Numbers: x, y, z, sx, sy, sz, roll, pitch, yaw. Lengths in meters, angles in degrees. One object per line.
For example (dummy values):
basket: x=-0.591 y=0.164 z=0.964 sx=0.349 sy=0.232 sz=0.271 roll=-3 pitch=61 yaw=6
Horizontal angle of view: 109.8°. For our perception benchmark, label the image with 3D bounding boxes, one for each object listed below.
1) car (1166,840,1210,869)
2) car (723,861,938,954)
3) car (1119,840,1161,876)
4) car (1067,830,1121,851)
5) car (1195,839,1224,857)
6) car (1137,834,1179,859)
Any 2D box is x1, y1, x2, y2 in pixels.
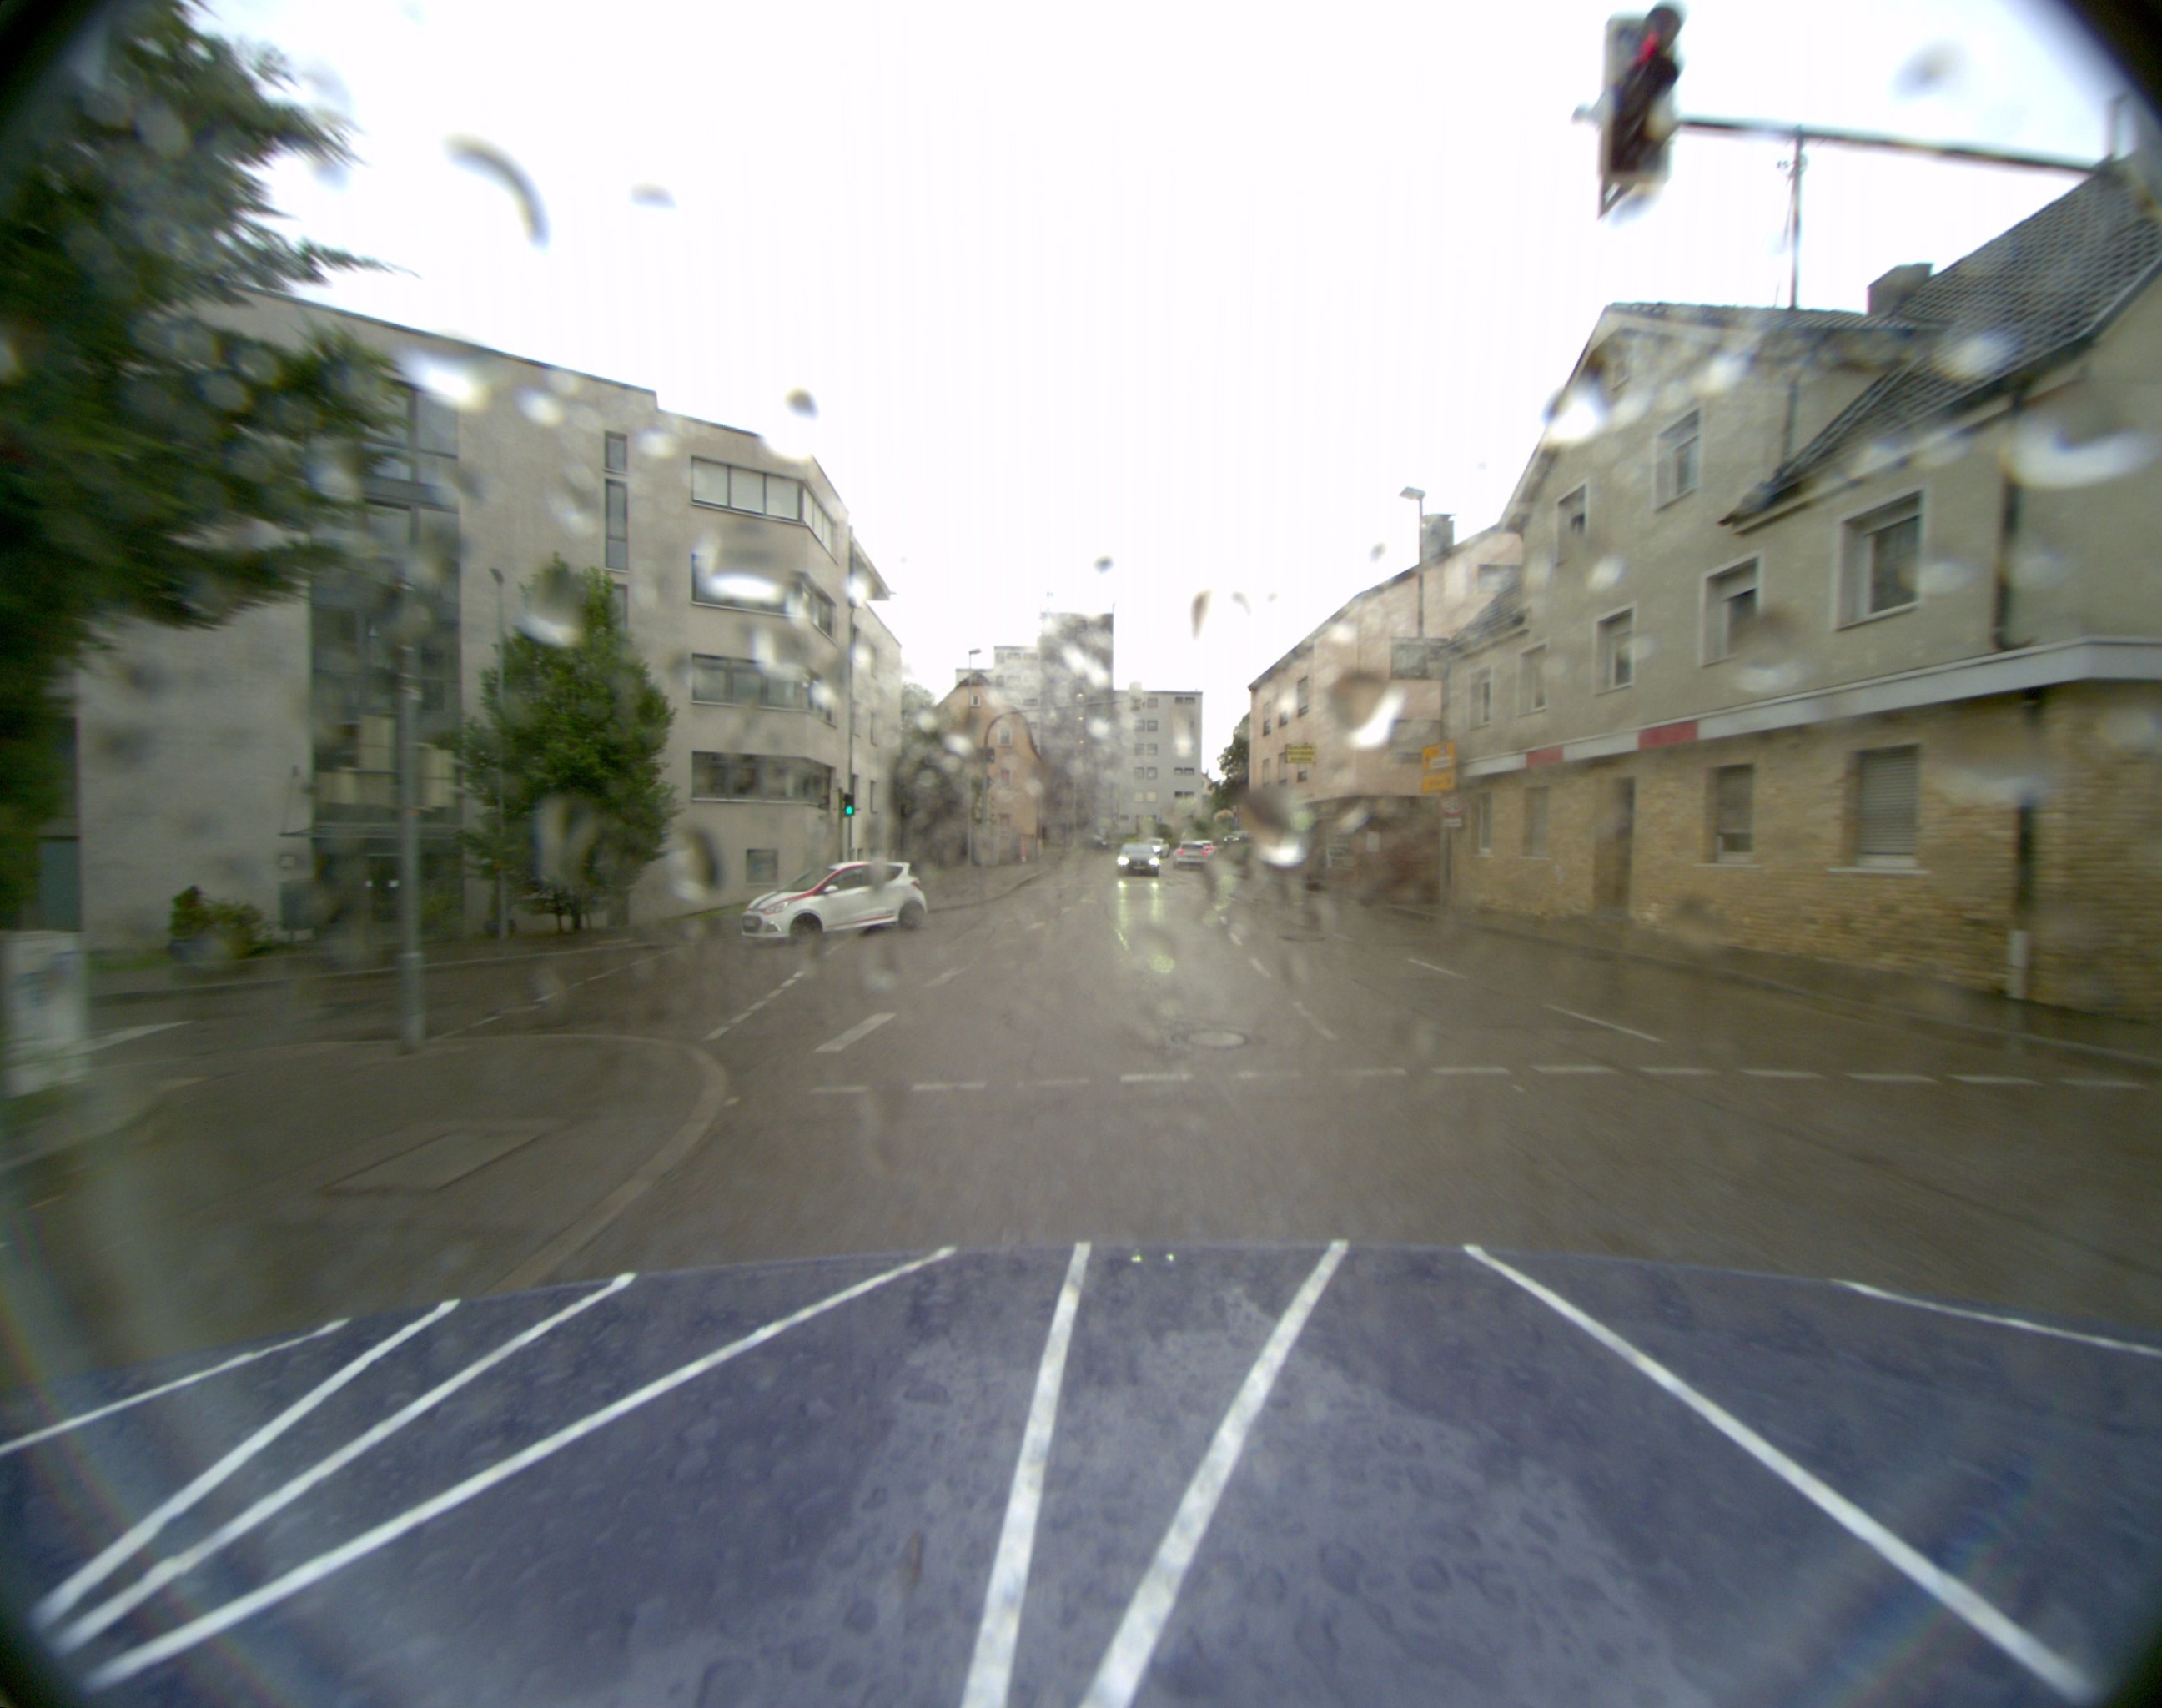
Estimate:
car: x=6.172 y=-0.001 z=44.126 sx=1.789 sy=1.551 sz=4.335 roll=1 pitch=0 yaw=-2
car: x=-5.070 y=1.001 z=15.732 sx=1.707 sy=1.445 sz=3.770 roll=-1 pitch=3 yaw=43
car: x=2.772 y=0.119 z=35.774 sx=1.837 sy=1.505 sz=4.848 roll=0 pitch=2 yaw=5
car: x=1.119 y=-1.234 z=66.515 sx=4.406 sy=1.565 sz=1.721 roll=4 pitch=5 yaw=26
car: x=10.255 y=-0.480 z=60.433 sx=1.692 sy=1.365 sz=4.118 roll=2 pitch=0 yaw=16
car: x=6.181 y=-0.561 z=60.366 sx=1.897 sy=1.649 sz=4.954 roll=4 pitch=0 yaw=22
